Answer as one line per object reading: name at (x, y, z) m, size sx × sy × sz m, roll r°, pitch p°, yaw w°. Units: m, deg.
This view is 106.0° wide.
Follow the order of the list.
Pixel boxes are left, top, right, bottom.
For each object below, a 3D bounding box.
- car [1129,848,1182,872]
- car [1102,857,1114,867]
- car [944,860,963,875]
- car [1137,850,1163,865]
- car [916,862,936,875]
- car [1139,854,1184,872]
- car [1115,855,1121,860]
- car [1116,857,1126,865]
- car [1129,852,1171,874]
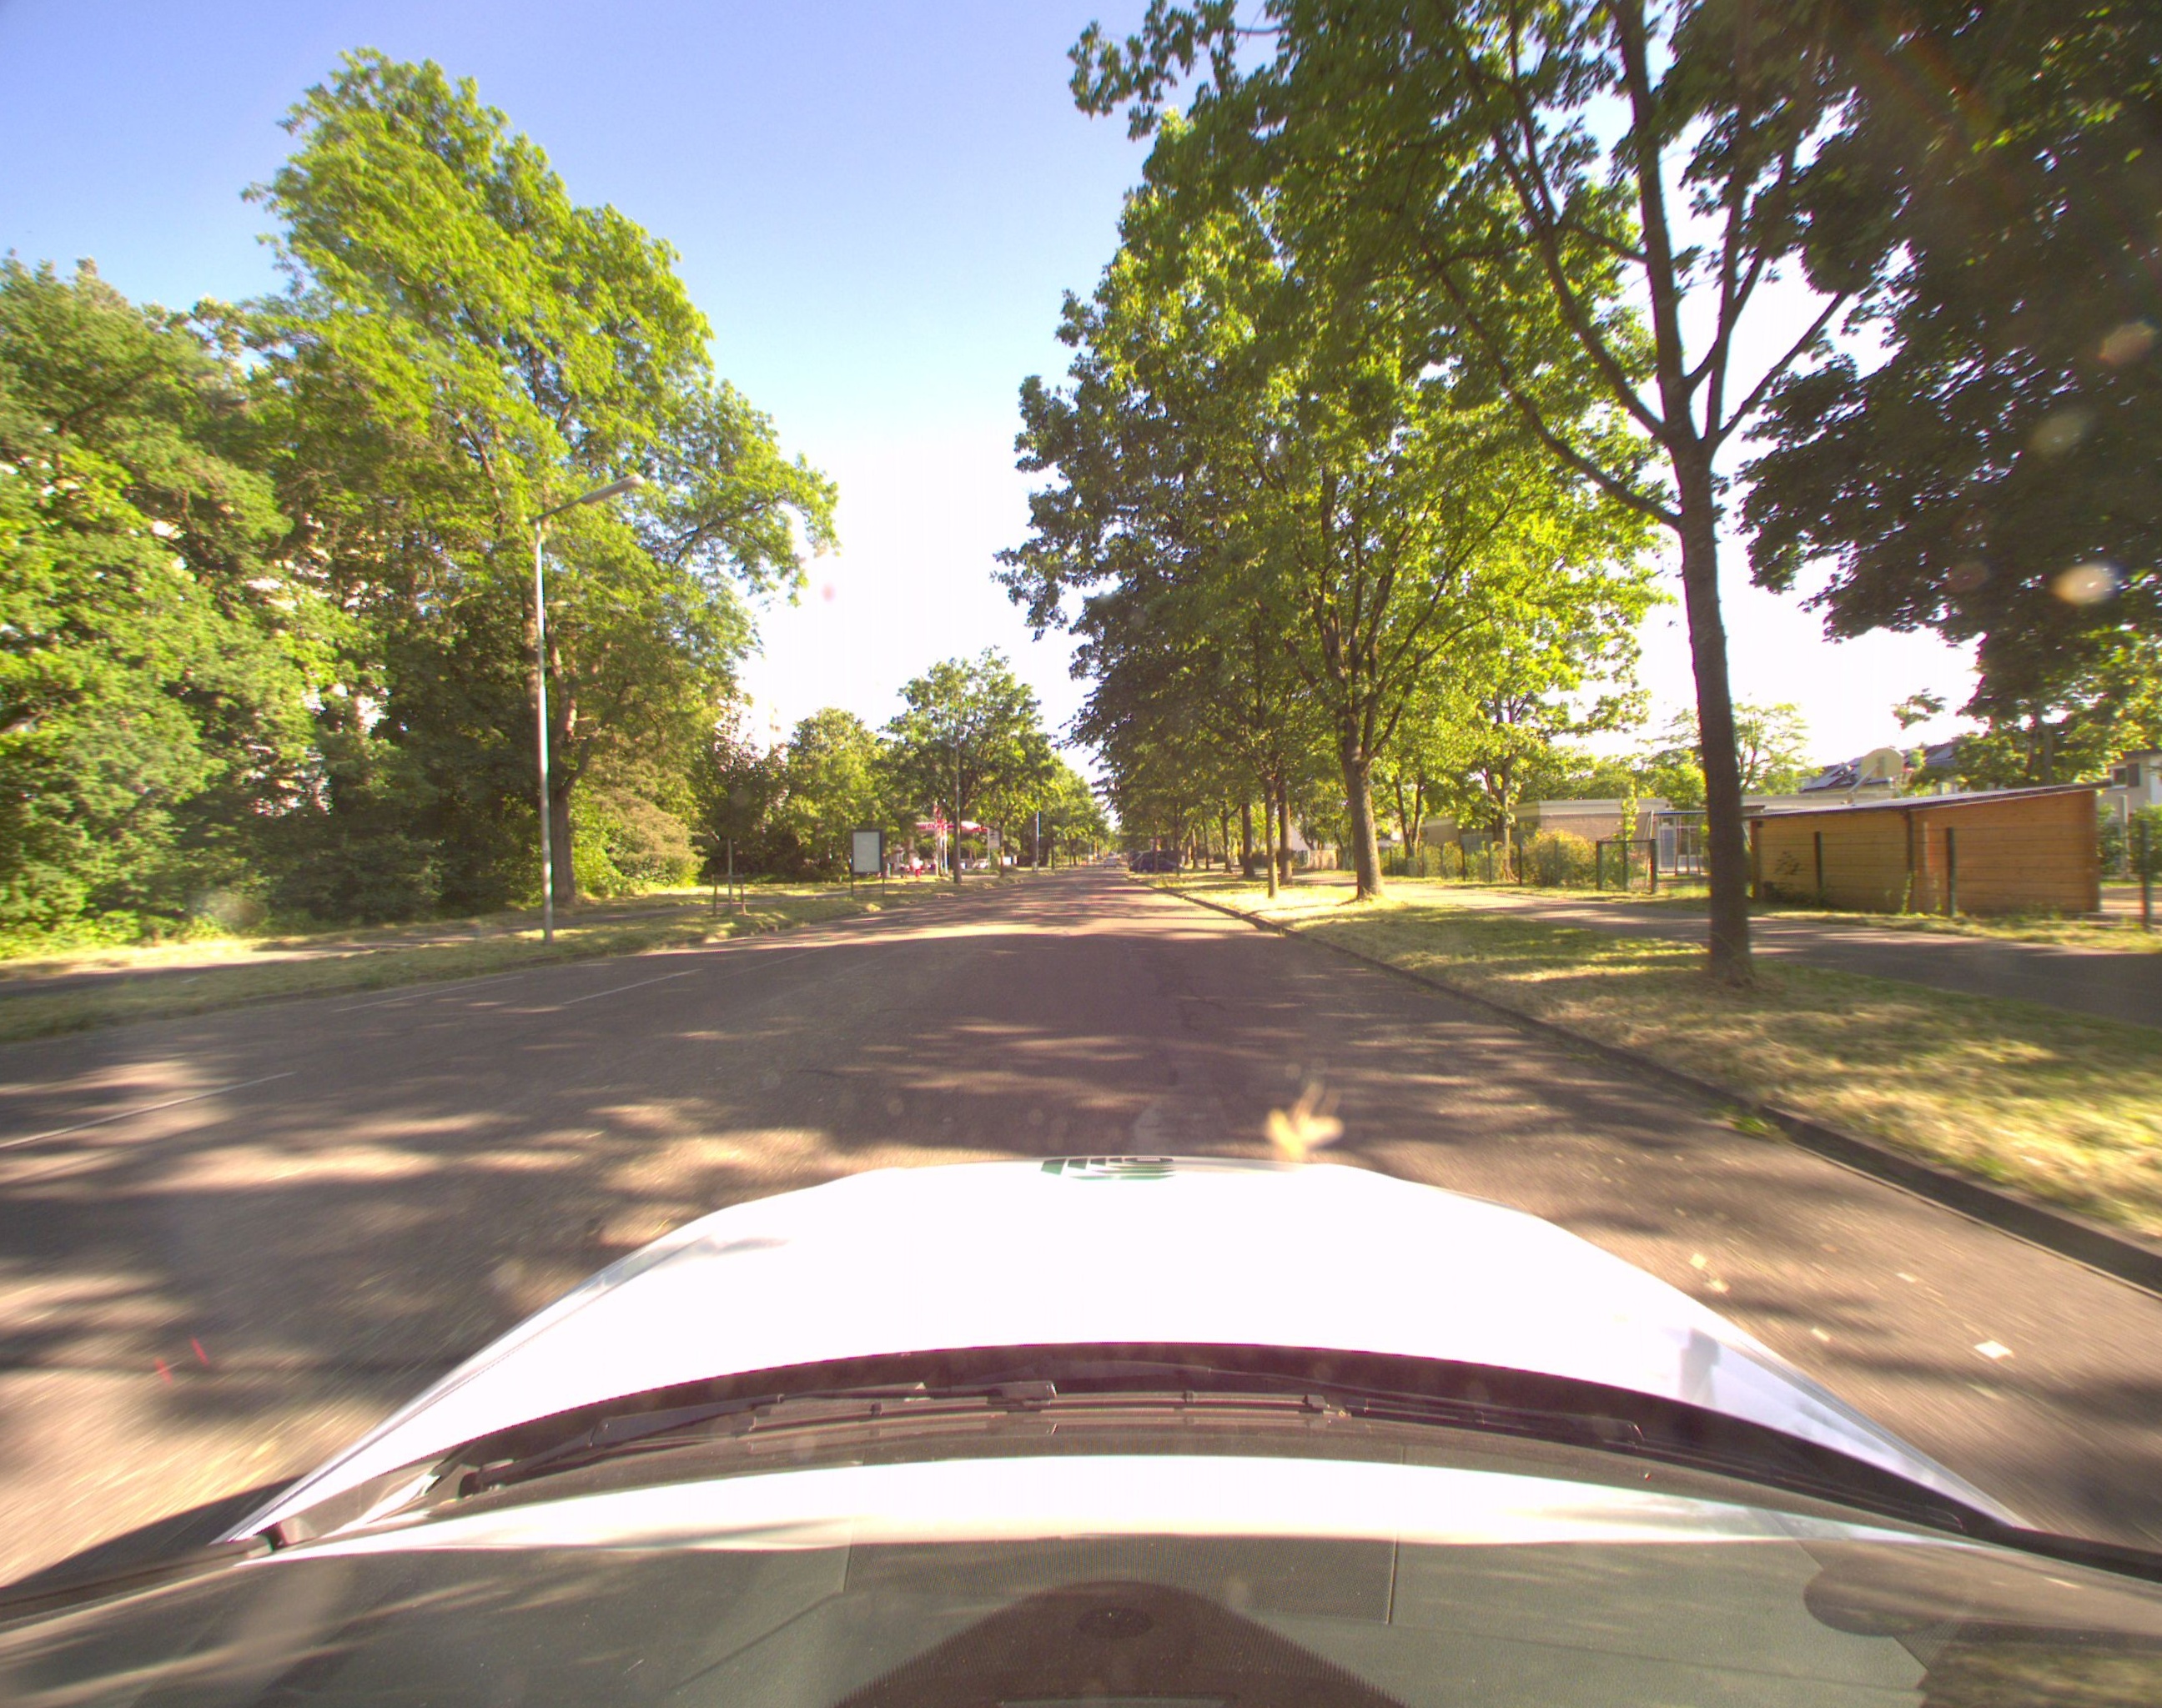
car at (6.474, 0.540, 70.831) m, size 4.485 × 1.953 × 1.688 m, roll -2°, pitch -2°, yaw 1°
car at (3.895, 1.220, 116.660) m, size 1.655 × 1.337 × 3.666 m, roll -2°, pitch -2°, yaw 2°
car at (-16.722, 1.752, 106.745) m, size 1.795 × 1.823 × 3.804 m, roll -2°, pitch -2°, yaw 0°
car at (10.122, 0.465, 119.687) m, size 3.554 × 2.051 × 1.633 m, roll -2°, pitch -2°, yaw 1°
car at (-20.831, 1.967, 109.356) m, size 1.795 × 1.621 × 3.805 m, roll -2°, pitch -2°, yaw 1°
car at (6.693, 0.747, 67.837) m, size 3.639 × 1.398 × 1.318 m, roll -2°, pitch -2°, yaw 1°
car at (11.272, 1.132, 249.793) m, size 1.655 × 1.337 × 3.666 m, roll -2°, pitch -2°, yaw 2°
car at (6.788, 1.227, 139.268) m, size 1.655 × 1.337 × 3.666 m, roll -2°, pitch -2°, yaw 2°
car at (6.173, 0.807, 73.326) m, size 3.639 × 1.797 × 1.318 m, roll -2°, pitch -2°, yaw 1°
